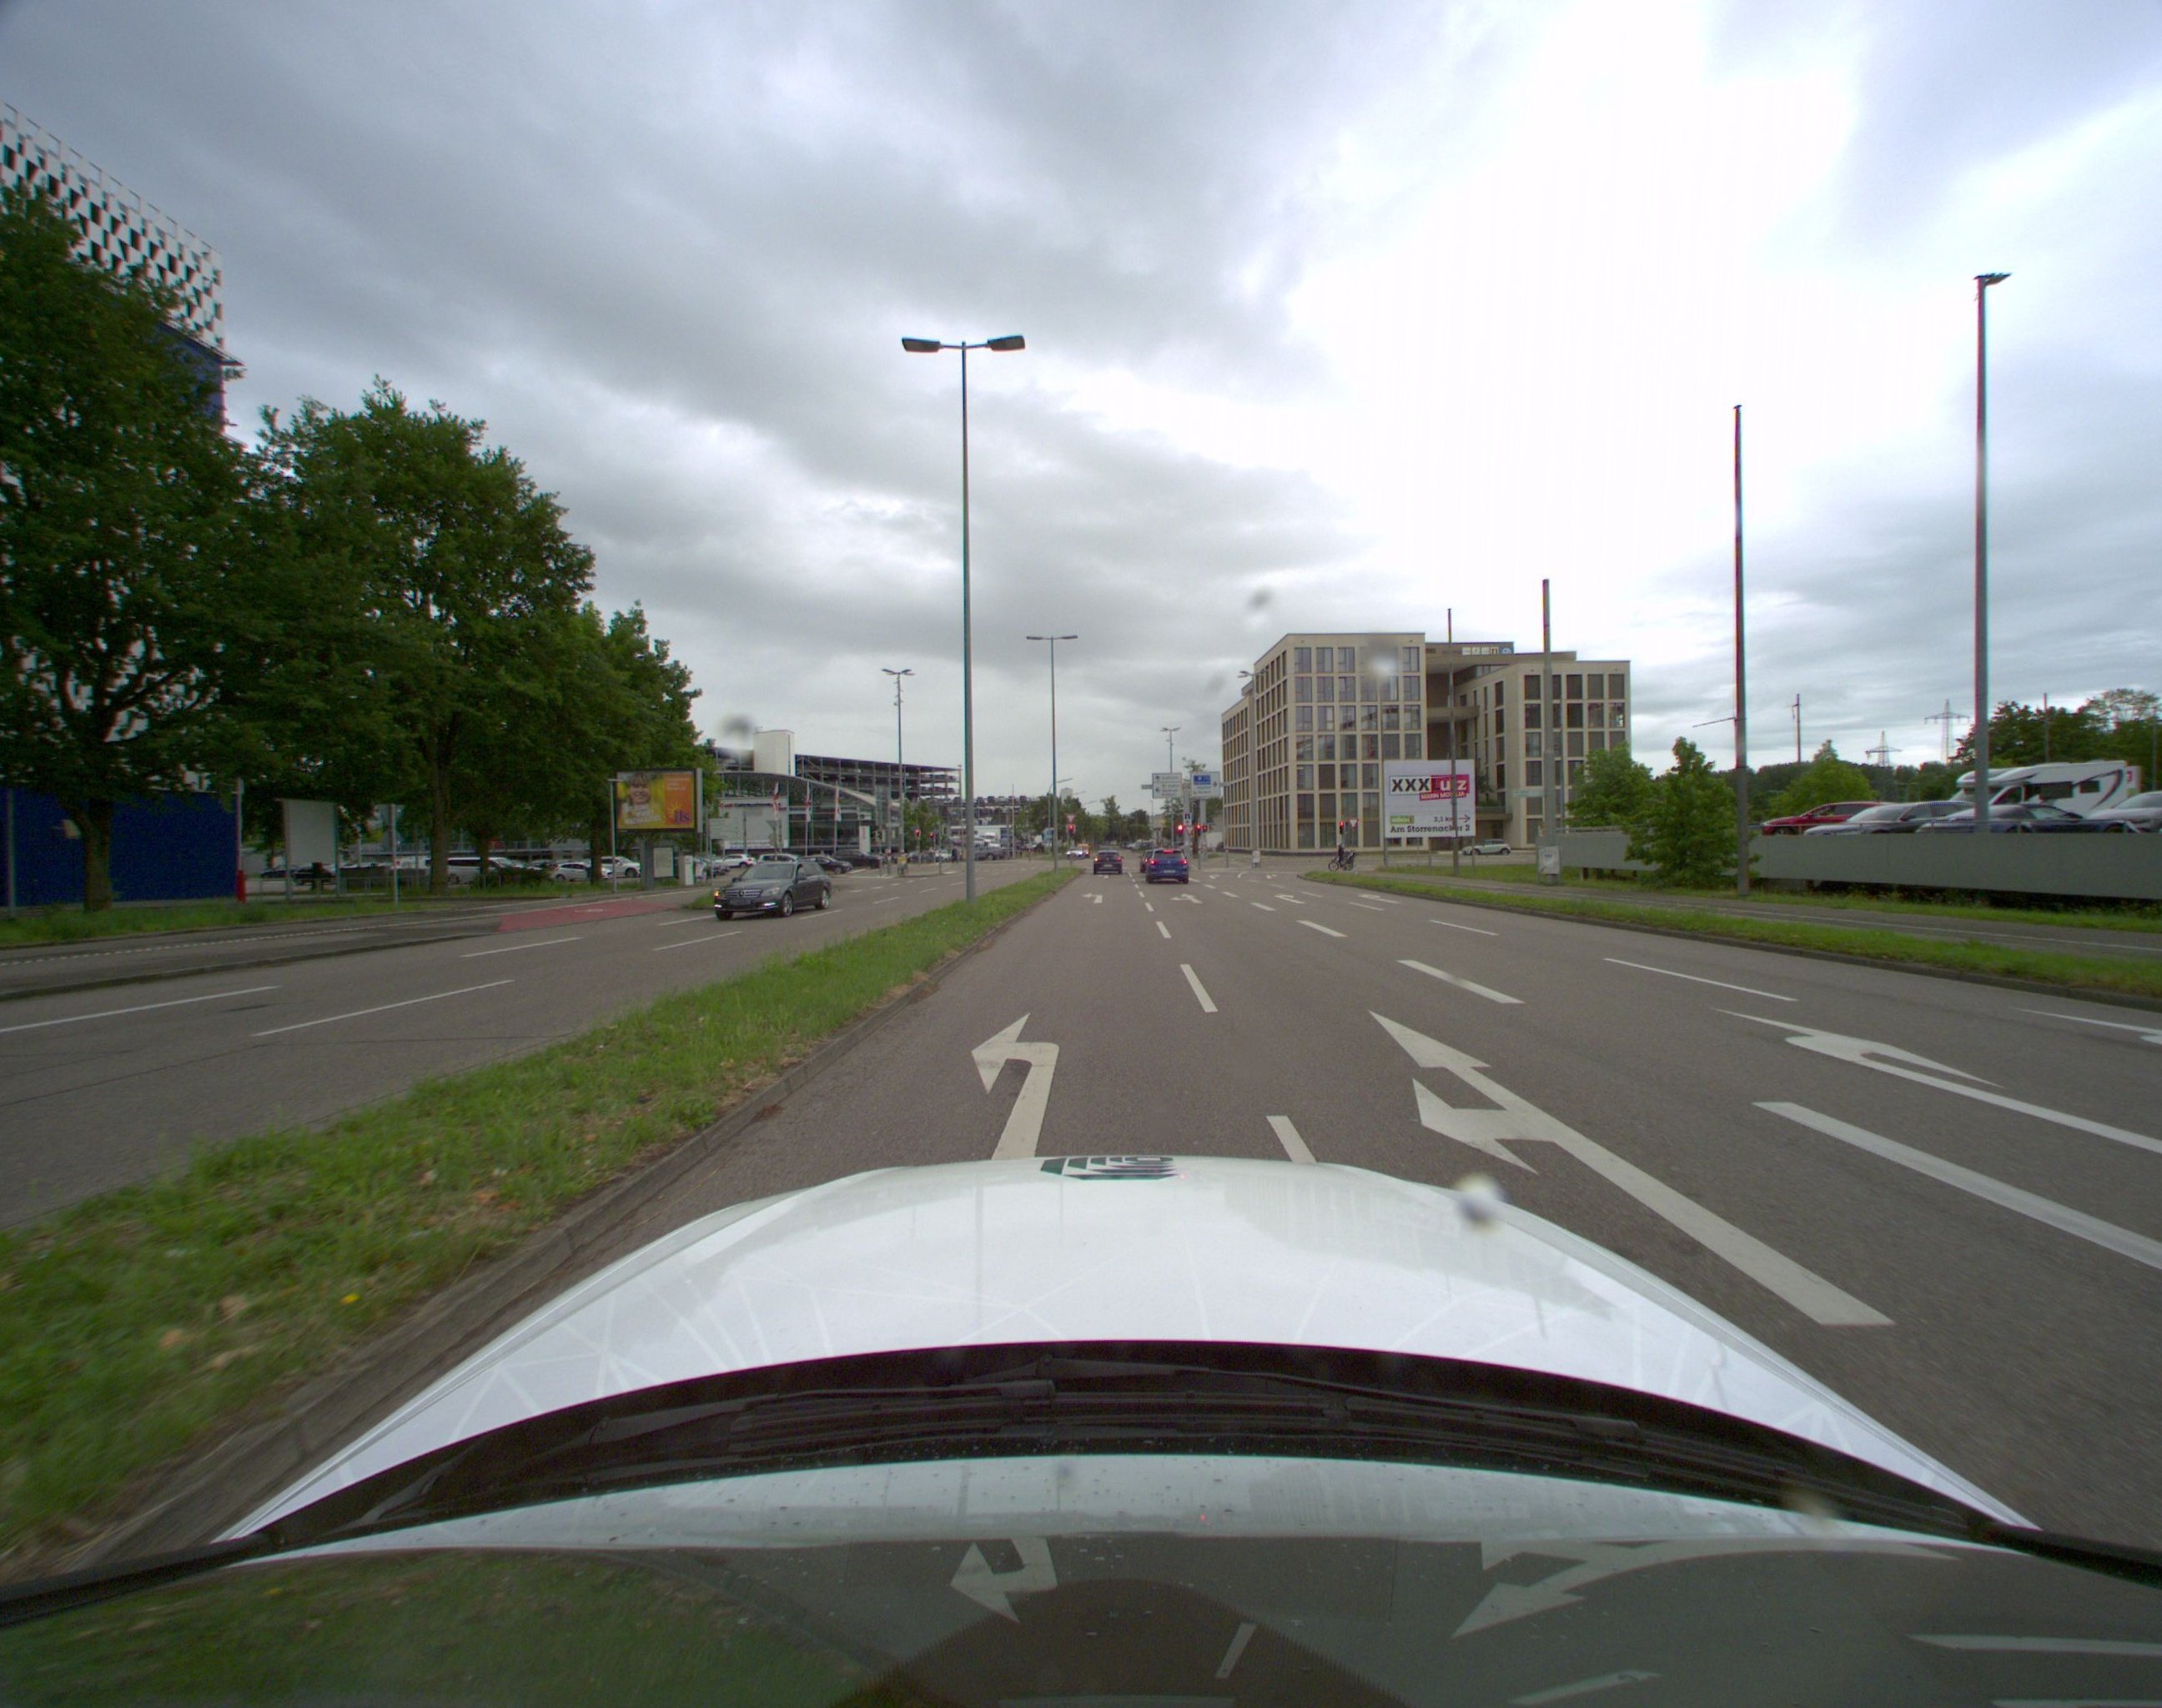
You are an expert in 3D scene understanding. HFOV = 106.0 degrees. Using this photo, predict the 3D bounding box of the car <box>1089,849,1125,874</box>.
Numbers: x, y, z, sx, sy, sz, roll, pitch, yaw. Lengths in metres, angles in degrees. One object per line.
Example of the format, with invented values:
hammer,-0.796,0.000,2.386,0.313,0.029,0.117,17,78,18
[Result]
car,1.549,0.413,49.510,1.981,1.428,4.240,-1,1,-1

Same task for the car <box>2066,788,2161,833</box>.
car,33.488,-1.357,25.049,4.089,1.315,1.755,-1,2,4

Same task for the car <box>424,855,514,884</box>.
car,-46.245,1.180,61.628,5.120,1.963,1.879,-1,4,-3

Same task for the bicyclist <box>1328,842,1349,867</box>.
bicyclist,16.026,0.036,50.701,0.706,1.504,0.989,-1,1,-39

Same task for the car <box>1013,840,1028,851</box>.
car,-10.274,-1.494,137.638,1.767,1.705,3.924,-1,2,6

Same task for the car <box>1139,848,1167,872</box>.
car,4.522,0.369,51.408,1.519,1.432,3.391,0,1,1

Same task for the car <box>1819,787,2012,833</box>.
car,23.376,-1.227,22.904,3.681,1.176,1.720,-1,2,0

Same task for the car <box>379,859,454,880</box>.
car,-52.785,1.209,64.766,4.217,1.504,1.992,-1,1,-3

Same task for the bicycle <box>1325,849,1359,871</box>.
bicycle,16.175,0.363,50.530,0.706,1.295,1.988,-1,1,-39

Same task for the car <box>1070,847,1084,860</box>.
car,-0.482,-0.076,97.375,1.594,1.453,3.326,-1,2,2

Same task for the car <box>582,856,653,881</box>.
car,-37.187,1.155,65.429,4.424,1.711,1.998,-1,4,-4

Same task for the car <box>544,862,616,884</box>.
car,-38.292,1.418,62.309,4.217,1.512,1.992,-1,1,-3

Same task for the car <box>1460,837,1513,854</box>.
car,38.326,-0.827,77.078,4.171,1.490,1.697,-1,2,5

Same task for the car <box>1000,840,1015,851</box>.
car,-12.458,-1.458,137.630,1.767,1.705,3.924,-1,2,6

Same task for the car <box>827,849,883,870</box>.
car,-19.298,0.469,69.769,4.401,1.643,1.994,-1,2,-9

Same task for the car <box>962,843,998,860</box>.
car,-11.603,-0.263,93.631,3.978,1.790,1.845,-1,2,-4

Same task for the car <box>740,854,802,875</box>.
car,-25.079,0.863,66.010,4.242,1.509,1.997,-1,2,-6

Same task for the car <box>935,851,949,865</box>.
car,-15.151,0.402,88.817,1.372,1.326,3.021,-1,2,-13

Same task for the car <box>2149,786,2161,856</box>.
car,23.088,-0.654,15.304,3.861,1.384,1.720,-1,2,-1

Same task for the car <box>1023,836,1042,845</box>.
car,-8.798,-2.441,147.698,3.286,1.640,1.479,-1,2,-2

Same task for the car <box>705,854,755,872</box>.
car,-33.188,0.831,77.176,3.938,1.567,1.756,-1,2,-7

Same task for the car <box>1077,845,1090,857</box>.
car,0.343,-0.419,105.507,1.594,1.453,3.326,-1,2,2

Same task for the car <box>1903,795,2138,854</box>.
car,23.415,-0.738,20.399,3.911,1.351,1.720,-1,2,0

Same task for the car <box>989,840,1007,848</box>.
car,-17.169,-2.123,168.490,3.657,1.528,1.611,-1,2,-6

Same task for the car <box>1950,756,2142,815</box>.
car,39.164,-2.736,33.178,4.989,2.210,2.168,-1,2,4

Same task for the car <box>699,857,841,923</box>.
car,-8.189,0.878,21.943,1.783,1.479,4.536,-3,0,3

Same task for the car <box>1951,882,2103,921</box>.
car,34.879,1.728,30.105,3.599,1.285,1.462,-1,2,8

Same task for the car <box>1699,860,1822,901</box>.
car,36.167,1.346,43.594,2.446,2.013,5.110,0,0,1

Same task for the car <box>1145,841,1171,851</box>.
car,11.764,-1.217,124.435,3.572,1.478,1.769,0,2,21

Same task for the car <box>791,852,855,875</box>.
car,-19.942,0.718,63.126,4.410,1.660,1.996,-1,0,-6

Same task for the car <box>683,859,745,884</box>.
car,-29.586,1.398,65.694,3.979,1.661,1.998,-4,2,-4

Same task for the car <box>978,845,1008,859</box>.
car,-11.261,-0.220,104.329,3.597,1.667,1.547,-1,2,-4

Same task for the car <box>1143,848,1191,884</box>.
car,3.822,0.490,36.862,1.828,1.514,4.001,1,0,1

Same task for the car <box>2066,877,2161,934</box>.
car,28.797,1.298,21.275,4.040,1.350,1.764,0,0,0

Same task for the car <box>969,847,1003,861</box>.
car,-11.143,-0.002,95.779,3.814,1.589,1.681,-1,2,-4

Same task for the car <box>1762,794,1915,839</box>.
car,30.201,-1.481,32.581,1.849,1.679,4.217,-3,3,-36

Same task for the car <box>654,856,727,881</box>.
car,-29.901,1.099,62.430,4.537,1.659,1.996,-2,1,-6
